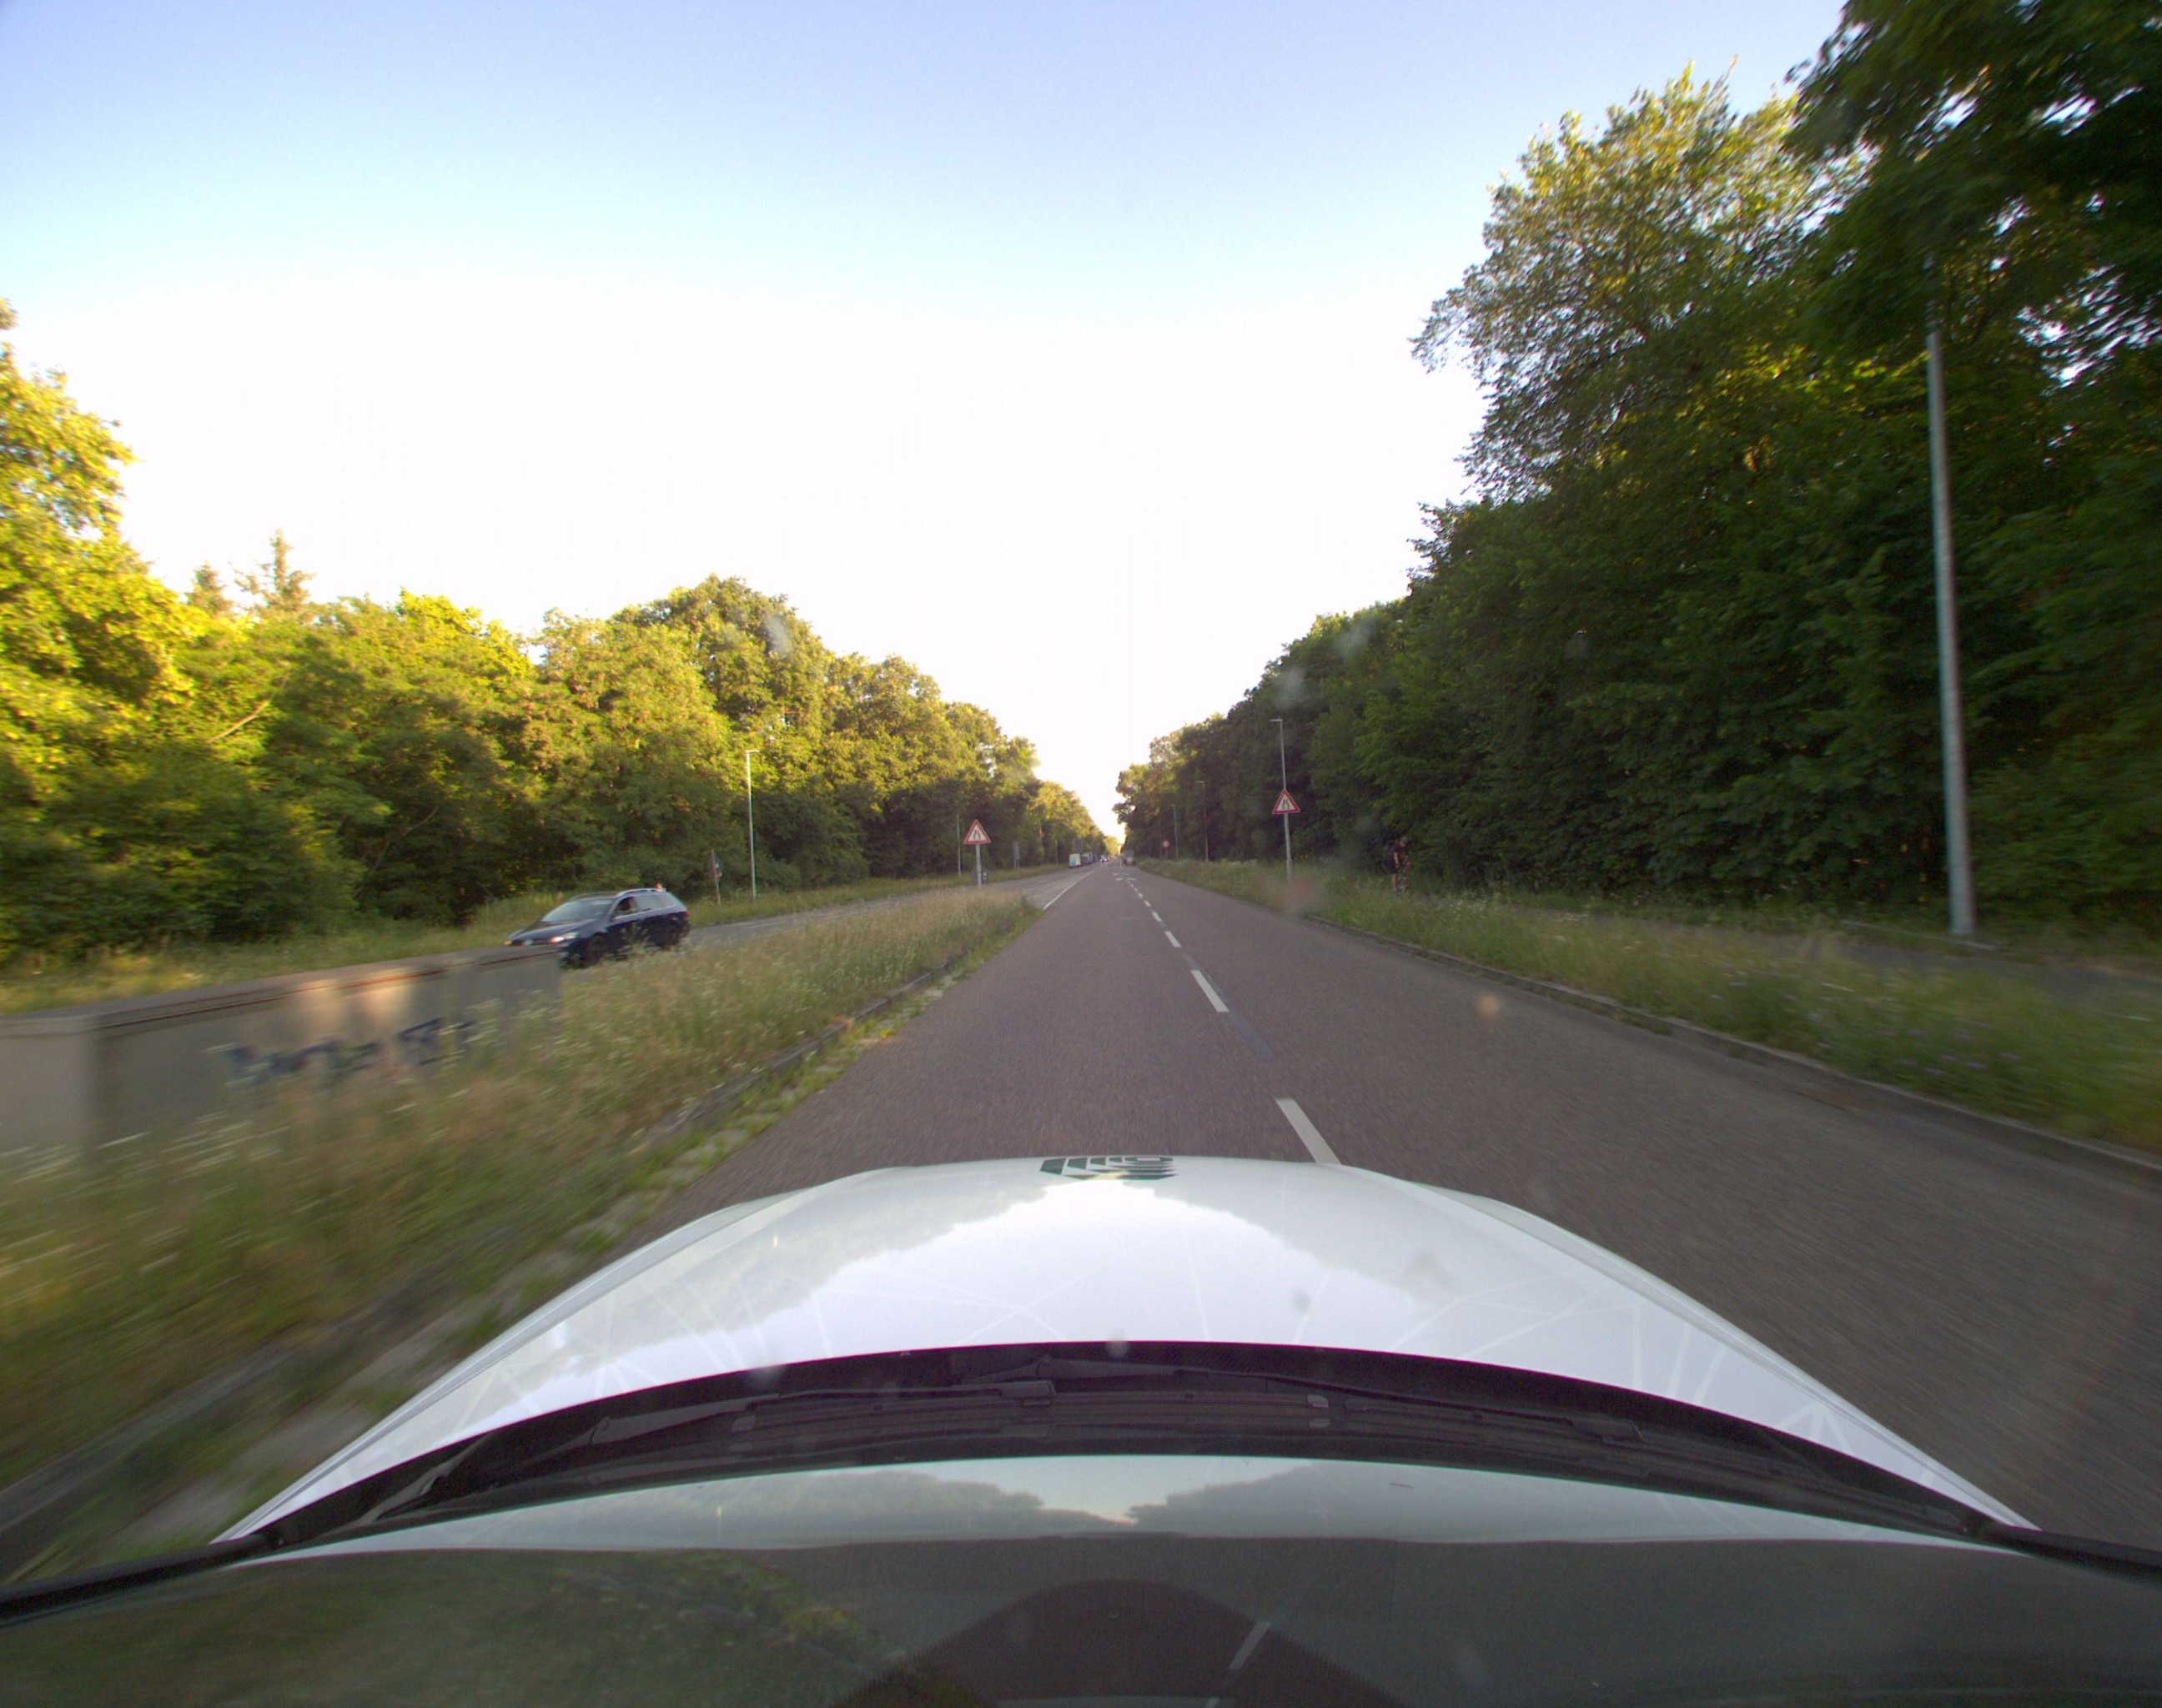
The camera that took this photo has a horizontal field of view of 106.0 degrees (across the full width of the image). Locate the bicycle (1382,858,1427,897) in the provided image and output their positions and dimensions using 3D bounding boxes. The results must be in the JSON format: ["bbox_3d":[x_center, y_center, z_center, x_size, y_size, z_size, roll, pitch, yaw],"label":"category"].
[{"bbox_3d":[8.933,0.628,22.530,0.608,0.995,1.692,-3,-1,3],"label":"bicycle"}]

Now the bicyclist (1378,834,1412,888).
[{"bbox_3d":[8.751,0.190,22.724,0.600,1.455,0.780,-3,-1,3],"label":"bicyclist"}]

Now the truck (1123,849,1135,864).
[{"bbox_3d":[10.819,0.476,184.422,2.577,3.255,7.228,-2,-1,4],"label":"truck"}]

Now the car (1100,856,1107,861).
[{"bbox_3d":[7.233,1.432,259.907,2.054,1.435,4.471,-6,0,4],"label":"car"}]

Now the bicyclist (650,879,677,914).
[{"bbox_3d":[-17.812,1.797,34.763,0.582,1.429,0.824,-3,-1,8],"label":"bicyclist"}]

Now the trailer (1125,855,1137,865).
[{"bbox_3d":[9.316,1.166,151.956,1.445,1.662,3.793,-4,-1,16],"label":"trailer"}]

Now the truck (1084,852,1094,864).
[{"bbox_3d":[2.387,1.242,236.633,2.494,3.328,6.846,-4,0,2],"label":"truck"}]

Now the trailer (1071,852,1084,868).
[{"bbox_3d":[-0.714,1.213,168.221,2.317,2.924,5.629,-5,0,2],"label":"trailer"}]

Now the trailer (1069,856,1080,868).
[{"bbox_3d":[-1.216,1.483,152.606,1.810,2.167,4.144,-4,0,2],"label":"trailer"}]

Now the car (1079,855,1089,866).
[{"bbox_3d":[0.813,1.533,193.620,1.986,2.364,5.769,-5,0,3],"label":"car"}]

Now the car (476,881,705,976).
[{"bbox_3d":[-10.356,1.494,17.678,1.810,1.533,4.463,-5,-1,6],"label":"car"}]
